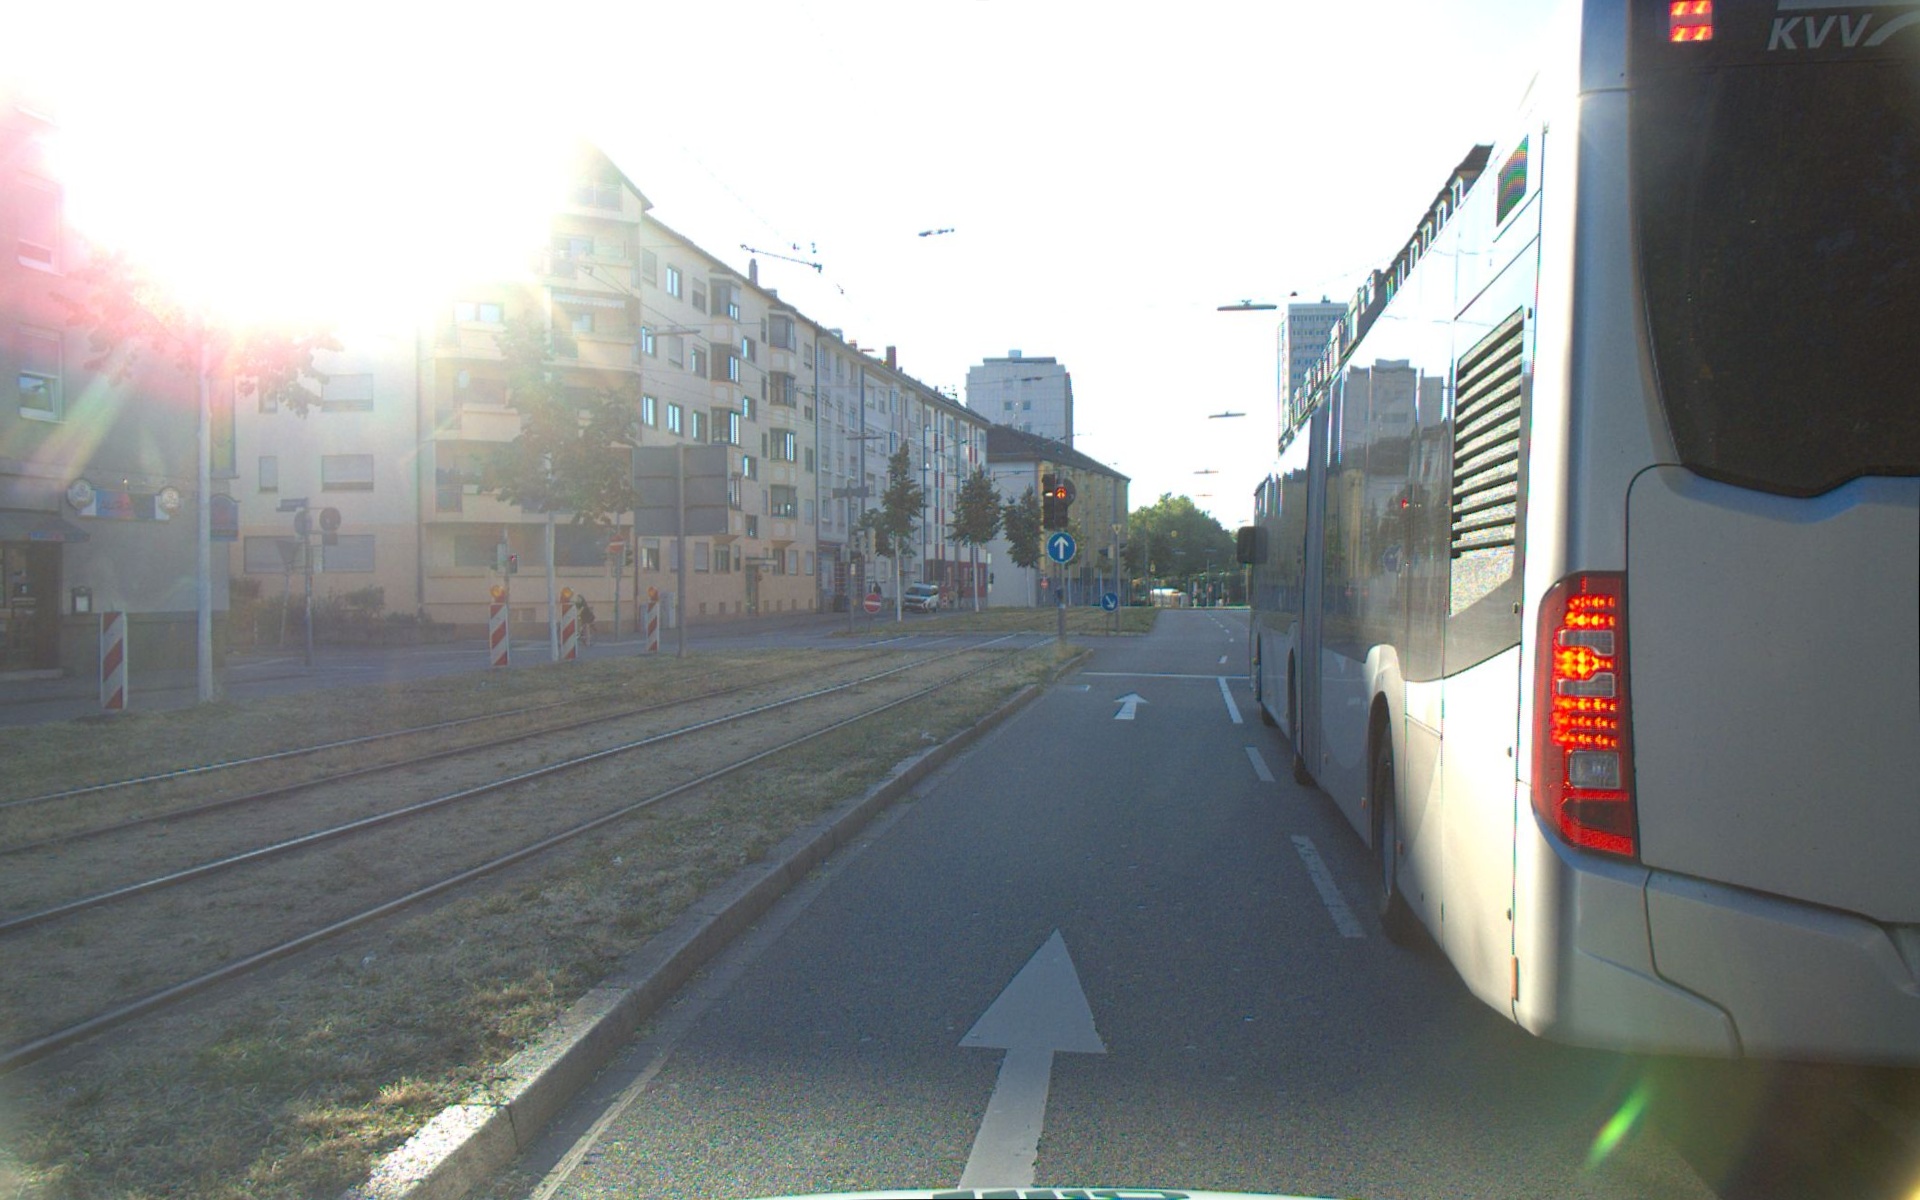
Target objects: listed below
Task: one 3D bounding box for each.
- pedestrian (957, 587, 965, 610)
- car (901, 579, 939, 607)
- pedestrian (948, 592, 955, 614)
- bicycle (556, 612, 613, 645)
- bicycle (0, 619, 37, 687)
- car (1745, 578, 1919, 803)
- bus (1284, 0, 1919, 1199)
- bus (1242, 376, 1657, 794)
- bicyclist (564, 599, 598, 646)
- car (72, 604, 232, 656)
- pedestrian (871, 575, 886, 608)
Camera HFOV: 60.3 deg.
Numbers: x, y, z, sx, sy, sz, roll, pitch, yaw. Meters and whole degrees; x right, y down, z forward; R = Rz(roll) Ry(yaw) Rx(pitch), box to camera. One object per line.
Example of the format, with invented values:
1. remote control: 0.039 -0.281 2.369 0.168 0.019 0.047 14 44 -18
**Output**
1. pedestrian: 0.060 -0.127 124.771 0.485 1.687 0.409 -1 0 8
2. car: -2.608 -0.442 108.860 1.773 1.829 4.248 1 0 9
3. pedestrian: -0.648 0.228 124.495 0.485 1.687 0.409 -1 0 8
4. bicycle: -12.075 0.917 53.218 0.519 1.001 1.874 -1 0 38
5. bicycle: -16.677 0.916 28.185 0.731 1.134 1.780 -1 0 8
6. car: 7.738 0.606 12.784 1.799 1.563 4.233 -1 0 8
7. bus: 3.234 -0.105 8.047 2.680 3.109 8.861 1 0 8
8. bus: 4.437 -0.165 16.993 2.680 3.109 9.138 1 0 8
9. bicyclist: -12.161 0.721 53.078 0.519 1.472 0.961 -1 0 38
10. car: -24.231 0.885 49.712 3.878 1.465 1.790 -1 0 -2
11. pedestrian: -5.148 -0.540 104.381 0.770 2.049 0.891 -1 0 4
